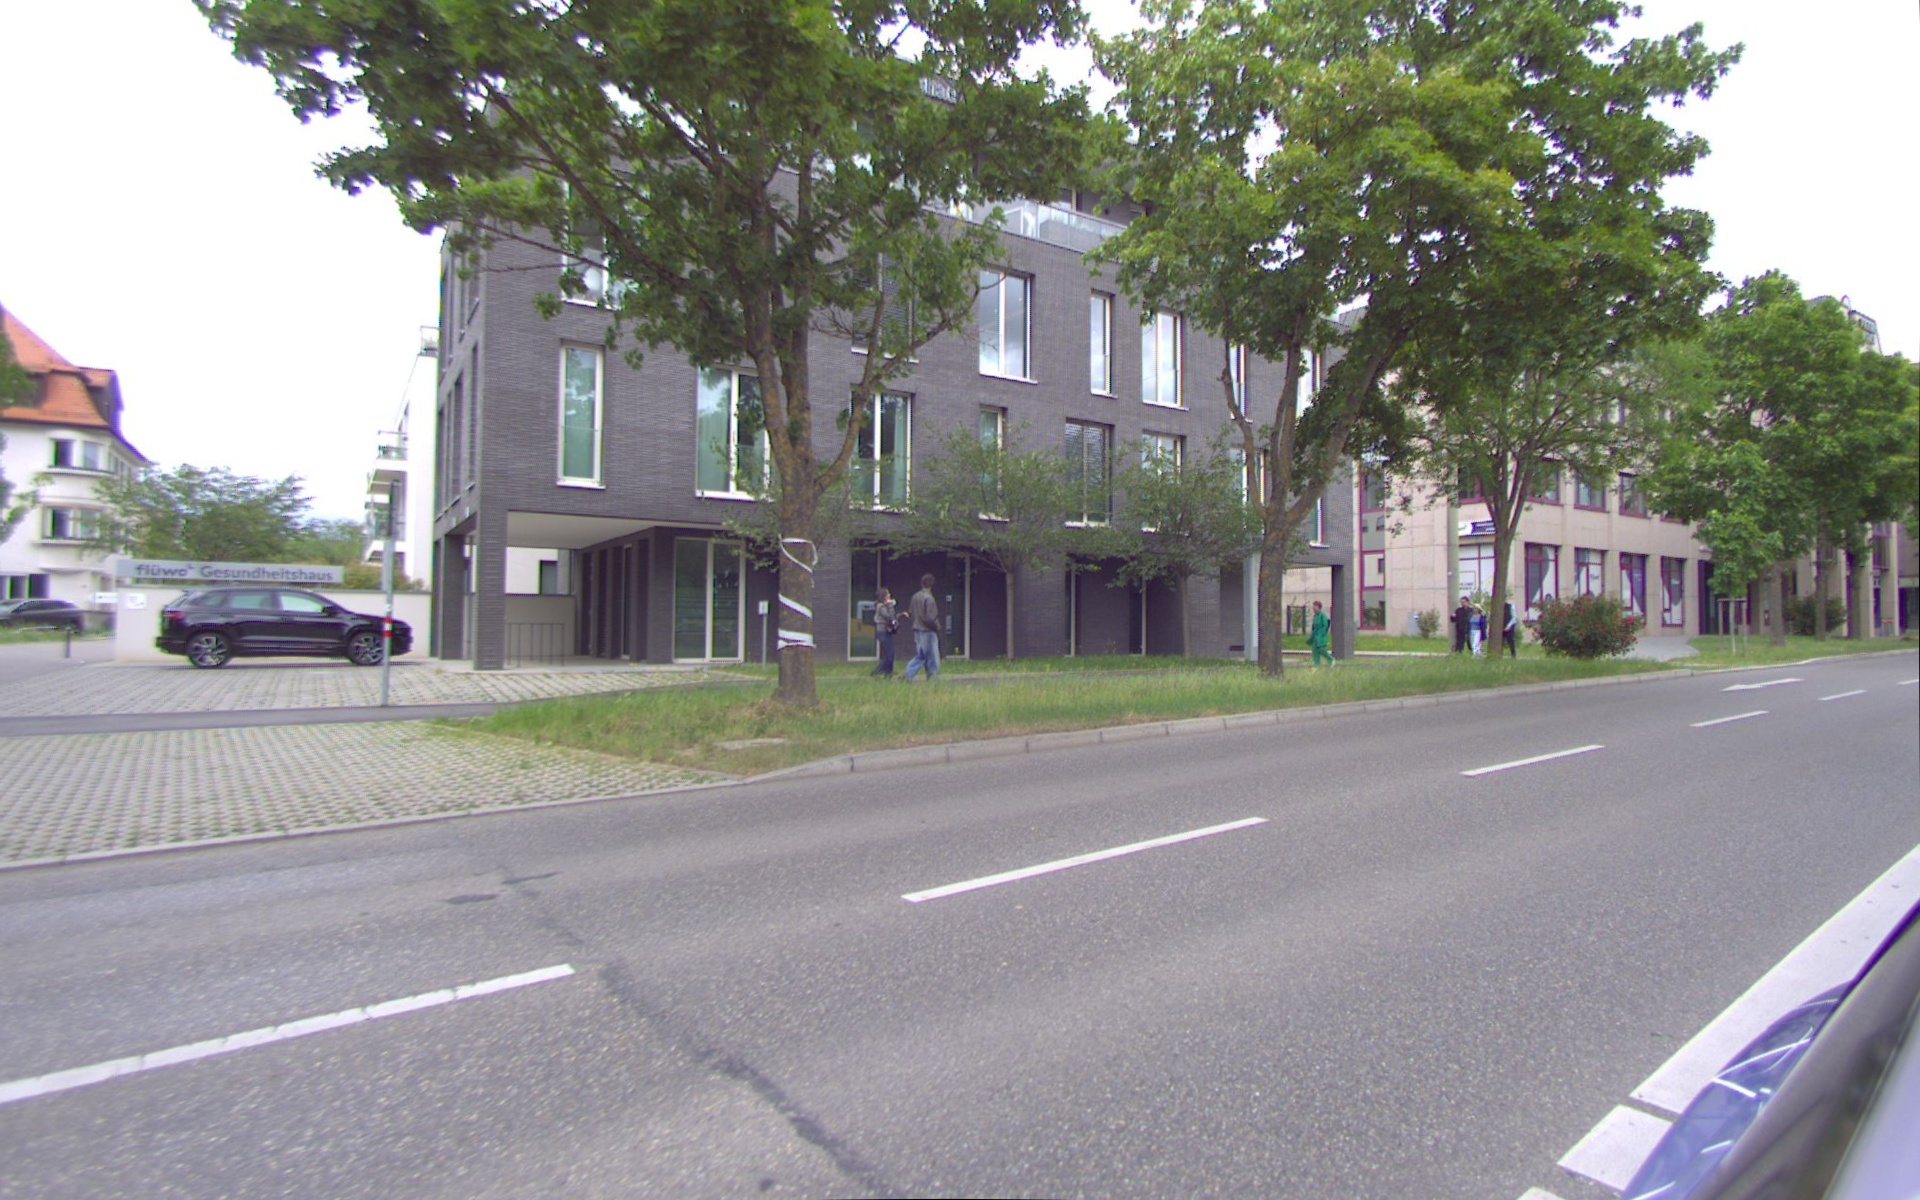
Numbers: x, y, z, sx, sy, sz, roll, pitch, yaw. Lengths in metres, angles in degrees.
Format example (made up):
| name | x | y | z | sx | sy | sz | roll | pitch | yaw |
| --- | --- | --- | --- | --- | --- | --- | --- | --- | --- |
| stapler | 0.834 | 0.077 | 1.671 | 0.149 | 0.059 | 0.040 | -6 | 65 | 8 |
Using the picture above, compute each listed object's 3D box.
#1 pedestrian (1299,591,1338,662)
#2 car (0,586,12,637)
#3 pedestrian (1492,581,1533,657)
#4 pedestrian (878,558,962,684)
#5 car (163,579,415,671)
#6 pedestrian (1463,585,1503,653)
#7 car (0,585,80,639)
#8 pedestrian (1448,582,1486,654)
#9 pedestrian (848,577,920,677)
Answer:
| name | x | y | z | sx | sy | sz | roll | pitch | yaw |
| --- | --- | --- | --- | --- | --- | --- | --- | --- | --- |
| pedestrian | 7.946 | 0.570 | 22.418 | 0.665 | 1.537 | 0.496 | 0 | 2 | -38 |
| car | -39.771 | 0.466 | 39.185 | 1.970 | 2.039 | 4.114 | 0 | 0 | 13 |
| pedestrian | 13.537 | 0.469 | 24.796 | 0.665 | 1.828 | 0.642 | 0 | -1 | -38 |
| pedestrian | -0.631 | 0.322 | 15.847 | 0.960 | 1.892 | 0.962 | 0 | -1 | -36 |
| car | -13.411 | 0.459 | 20.361 | 4.072 | 1.667 | 1.760 | 0 | -1 | -38 |
| pedestrian | 13.107 | 0.468 | 25.361 | 0.665 | 1.668 | 0.642 | 0 | -1 | -38 |
| car | -36.679 | 0.453 | 38.793 | 1.970 | 2.039 | 4.114 | 0 | 0 | 13 |
| pedestrian | 13.079 | 0.464 | 26.091 | 0.665 | 1.828 | 0.642 | 0 | -1 | -38 |
| pedestrian | -1.247 | 0.432 | 16.569 | 0.859 | 1.577 | 0.834 | 0 | -1 | -36 |
